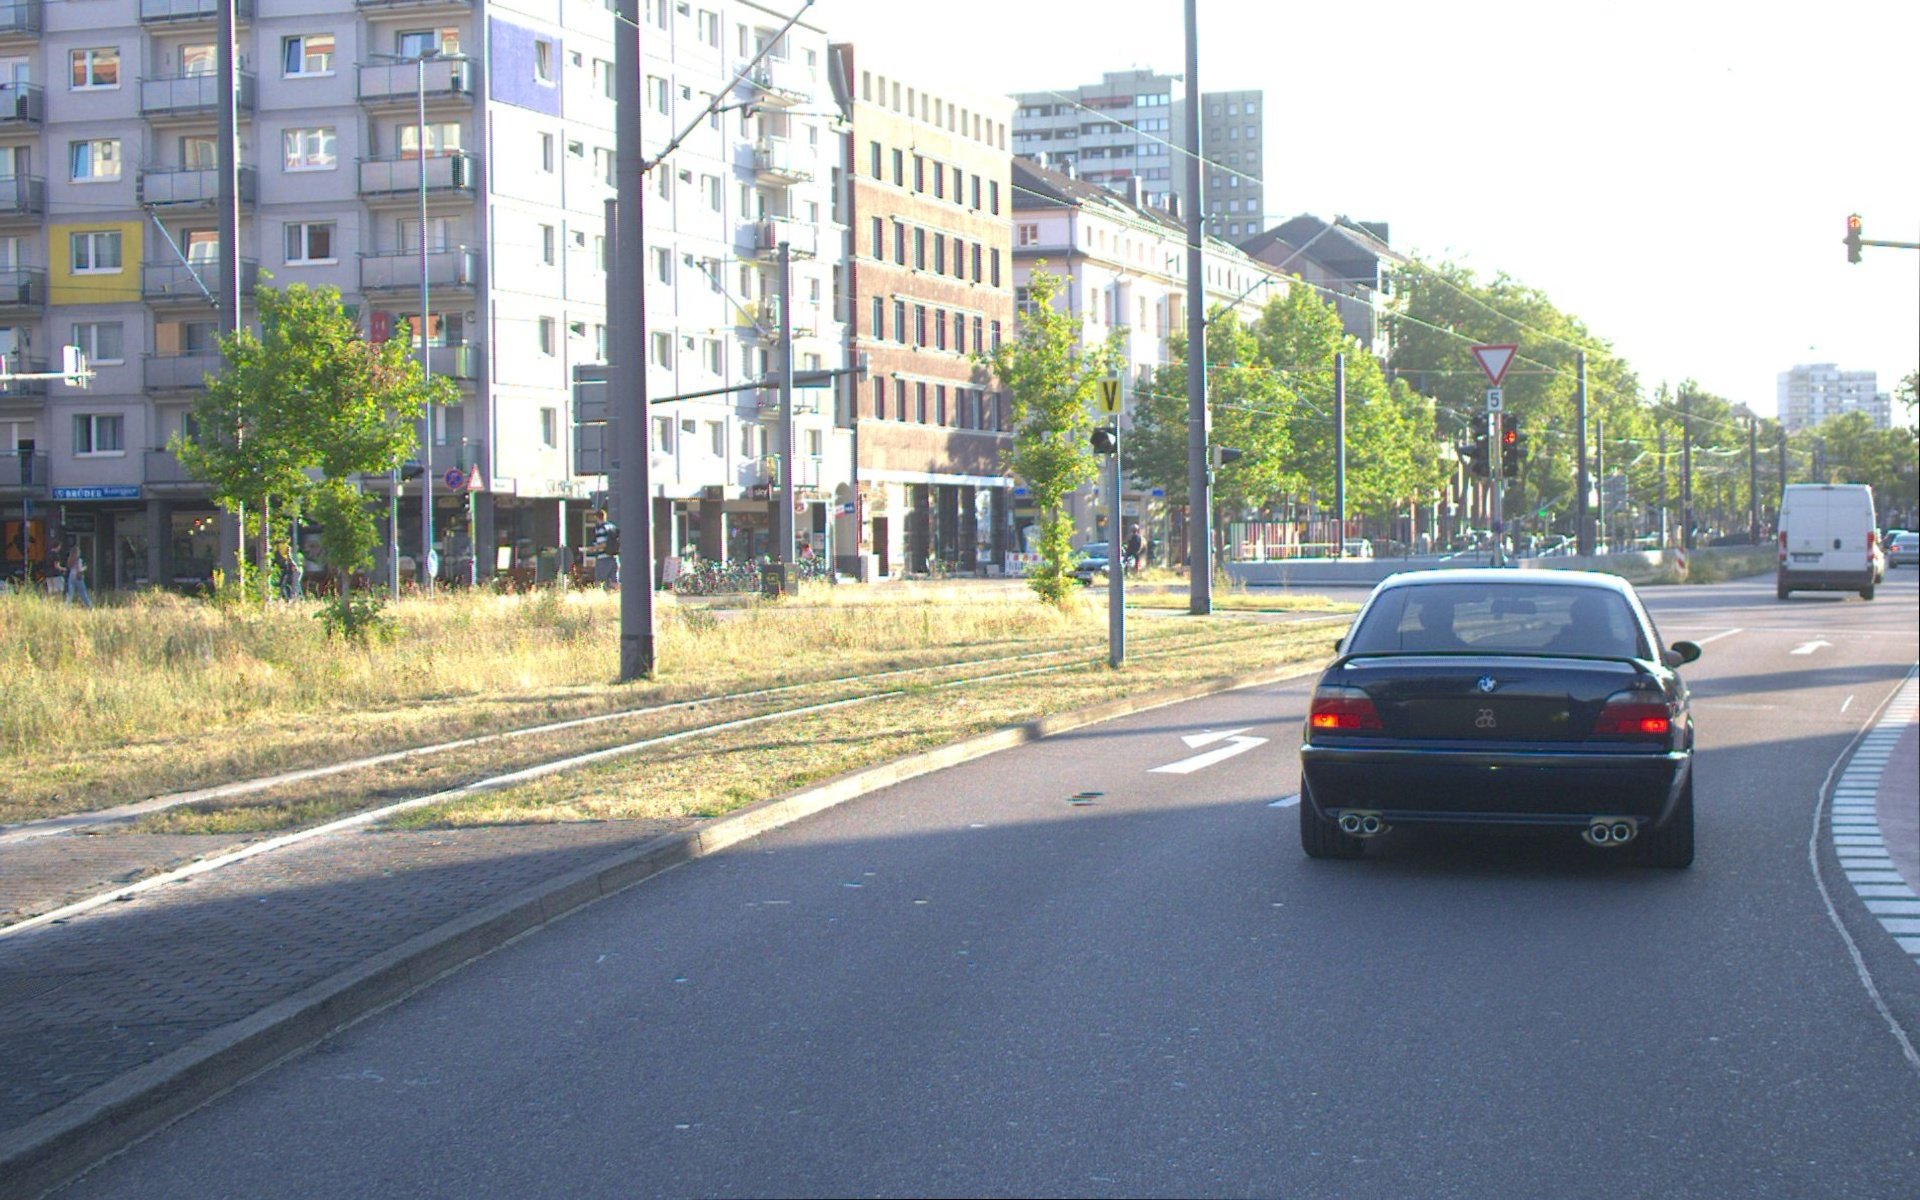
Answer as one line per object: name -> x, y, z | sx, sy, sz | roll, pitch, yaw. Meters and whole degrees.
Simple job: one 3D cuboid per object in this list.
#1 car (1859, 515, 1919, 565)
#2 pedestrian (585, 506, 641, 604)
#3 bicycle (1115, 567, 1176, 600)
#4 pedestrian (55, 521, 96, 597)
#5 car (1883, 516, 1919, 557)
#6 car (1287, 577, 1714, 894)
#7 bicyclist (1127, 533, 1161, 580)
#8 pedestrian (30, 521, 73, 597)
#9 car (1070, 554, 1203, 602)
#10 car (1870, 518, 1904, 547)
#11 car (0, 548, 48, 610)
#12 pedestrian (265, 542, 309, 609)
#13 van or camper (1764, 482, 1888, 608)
car -> 27.948, -1.797, 102.920 | 1.739, 1.381, 3.997 | -1, 2, 18
pedestrian -> -6.298, -0.819, 62.421 | 0.721, 1.756, 0.649 | 0, 2, 39
bicycle -> 5.769, -0.507, 106.798 | 1.728, 0.966, 0.704 | 1, 3, -20
pedestrian -> -21.971, -1.024, 85.390 | 0.603, 1.841, 0.821 | -1, 2, 18
car -> 38.389, -2.577, 139.382 | 1.795, 1.560, 3.998 | -1, 2, 14
car -> 2.875, 0.574, 17.471 | 1.831, 1.349, 4.638 | 1, 1, 13
bicyclist -> 5.713, -1.360, 106.722 | 0.853, 1.437, 0.663 | 0, 3, -20
pedestrian -> -22.659, -1.025, 85.776 | 0.705, 1.845, 0.736 | -1, 2, 18
car -> 5.598, -0.710, 109.155 | 3.986, 1.429, 1.719 | 0, 3, -6
car -> 54.246, -3.970, 201.206 | 1.795, 1.560, 3.998 | -1, 2, 14
car -> -26.406, -0.550, 91.159 | 3.867, 1.579, 1.803 | -1, 2, 13
pedestrian -> -16.933, -0.622, 86.493 | 0.739, 1.664, 0.782 | 0, 2, 23
van or camper -> 18.953, -1.238, 75.120 | 2.265, 2.616, 4.499 | -1, 2, 18
